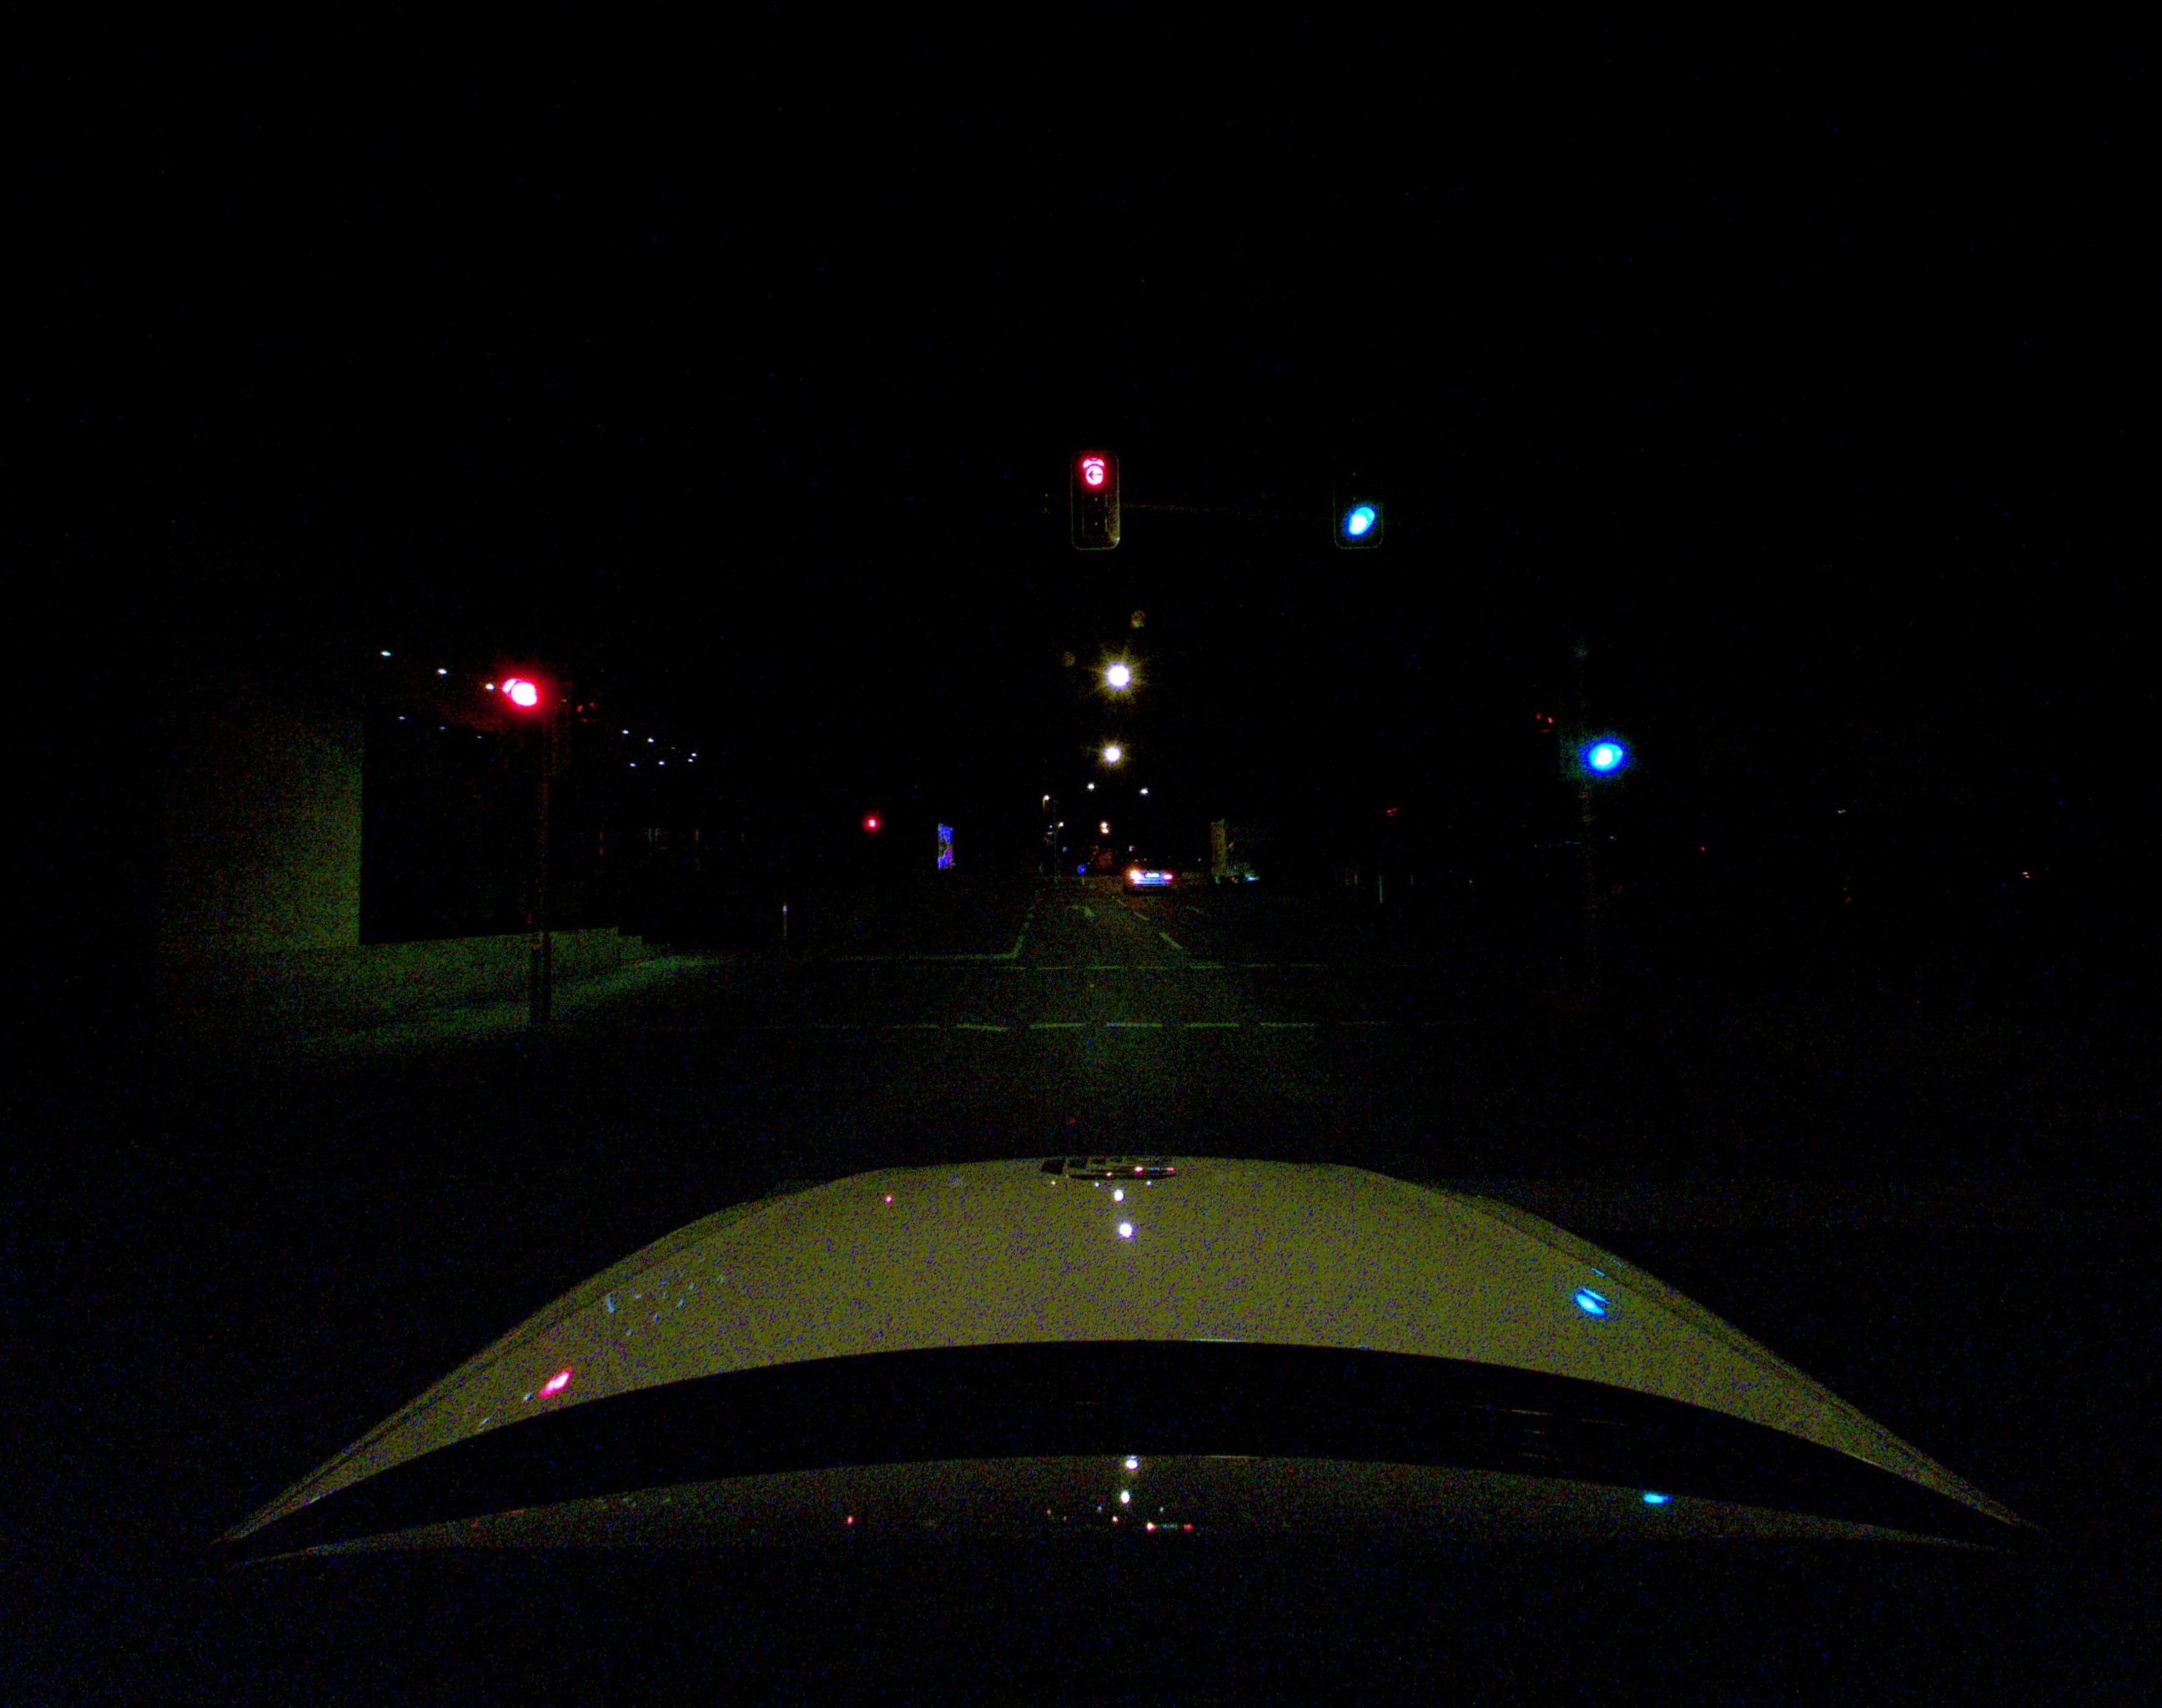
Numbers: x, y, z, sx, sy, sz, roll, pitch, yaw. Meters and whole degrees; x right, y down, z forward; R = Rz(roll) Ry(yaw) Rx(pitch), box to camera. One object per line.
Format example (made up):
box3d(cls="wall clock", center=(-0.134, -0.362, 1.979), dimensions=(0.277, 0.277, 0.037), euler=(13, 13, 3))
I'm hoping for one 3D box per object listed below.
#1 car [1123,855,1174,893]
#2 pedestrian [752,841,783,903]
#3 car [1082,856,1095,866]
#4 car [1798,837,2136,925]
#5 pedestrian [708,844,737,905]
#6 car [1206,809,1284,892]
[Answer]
box3d(cls="car", center=(2.723, 0.799, 33.640), dimensions=(1.770, 1.486, 3.999), euler=(0, -1, 0))
box3d(cls="pedestrian", center=(-9.242, 0.532, 24.025), dimensions=(0.568, 1.778, 0.737), euler=(1, -1, 1))
box3d(cls="car", center=(1.247, 1.159, 134.563), dimensions=(1.901, 1.557, 3.906), euler=(0, -1, 2))
box3d(cls="car", center=(17.455, 0.562, 16.282), dimensions=(4.342, 1.560, 1.807), euler=(-2, -3, 8))
box3d(cls="pedestrian", center=(-10.274, 0.583, 23.356), dimensions=(0.568, 1.731, 0.544), euler=(0, -1, 1))
box3d(cls="car", center=(6.759, -0.112, 34.213), dimensions=(2.287, 3.093, 5.845), euler=(-2, -1, 3))
